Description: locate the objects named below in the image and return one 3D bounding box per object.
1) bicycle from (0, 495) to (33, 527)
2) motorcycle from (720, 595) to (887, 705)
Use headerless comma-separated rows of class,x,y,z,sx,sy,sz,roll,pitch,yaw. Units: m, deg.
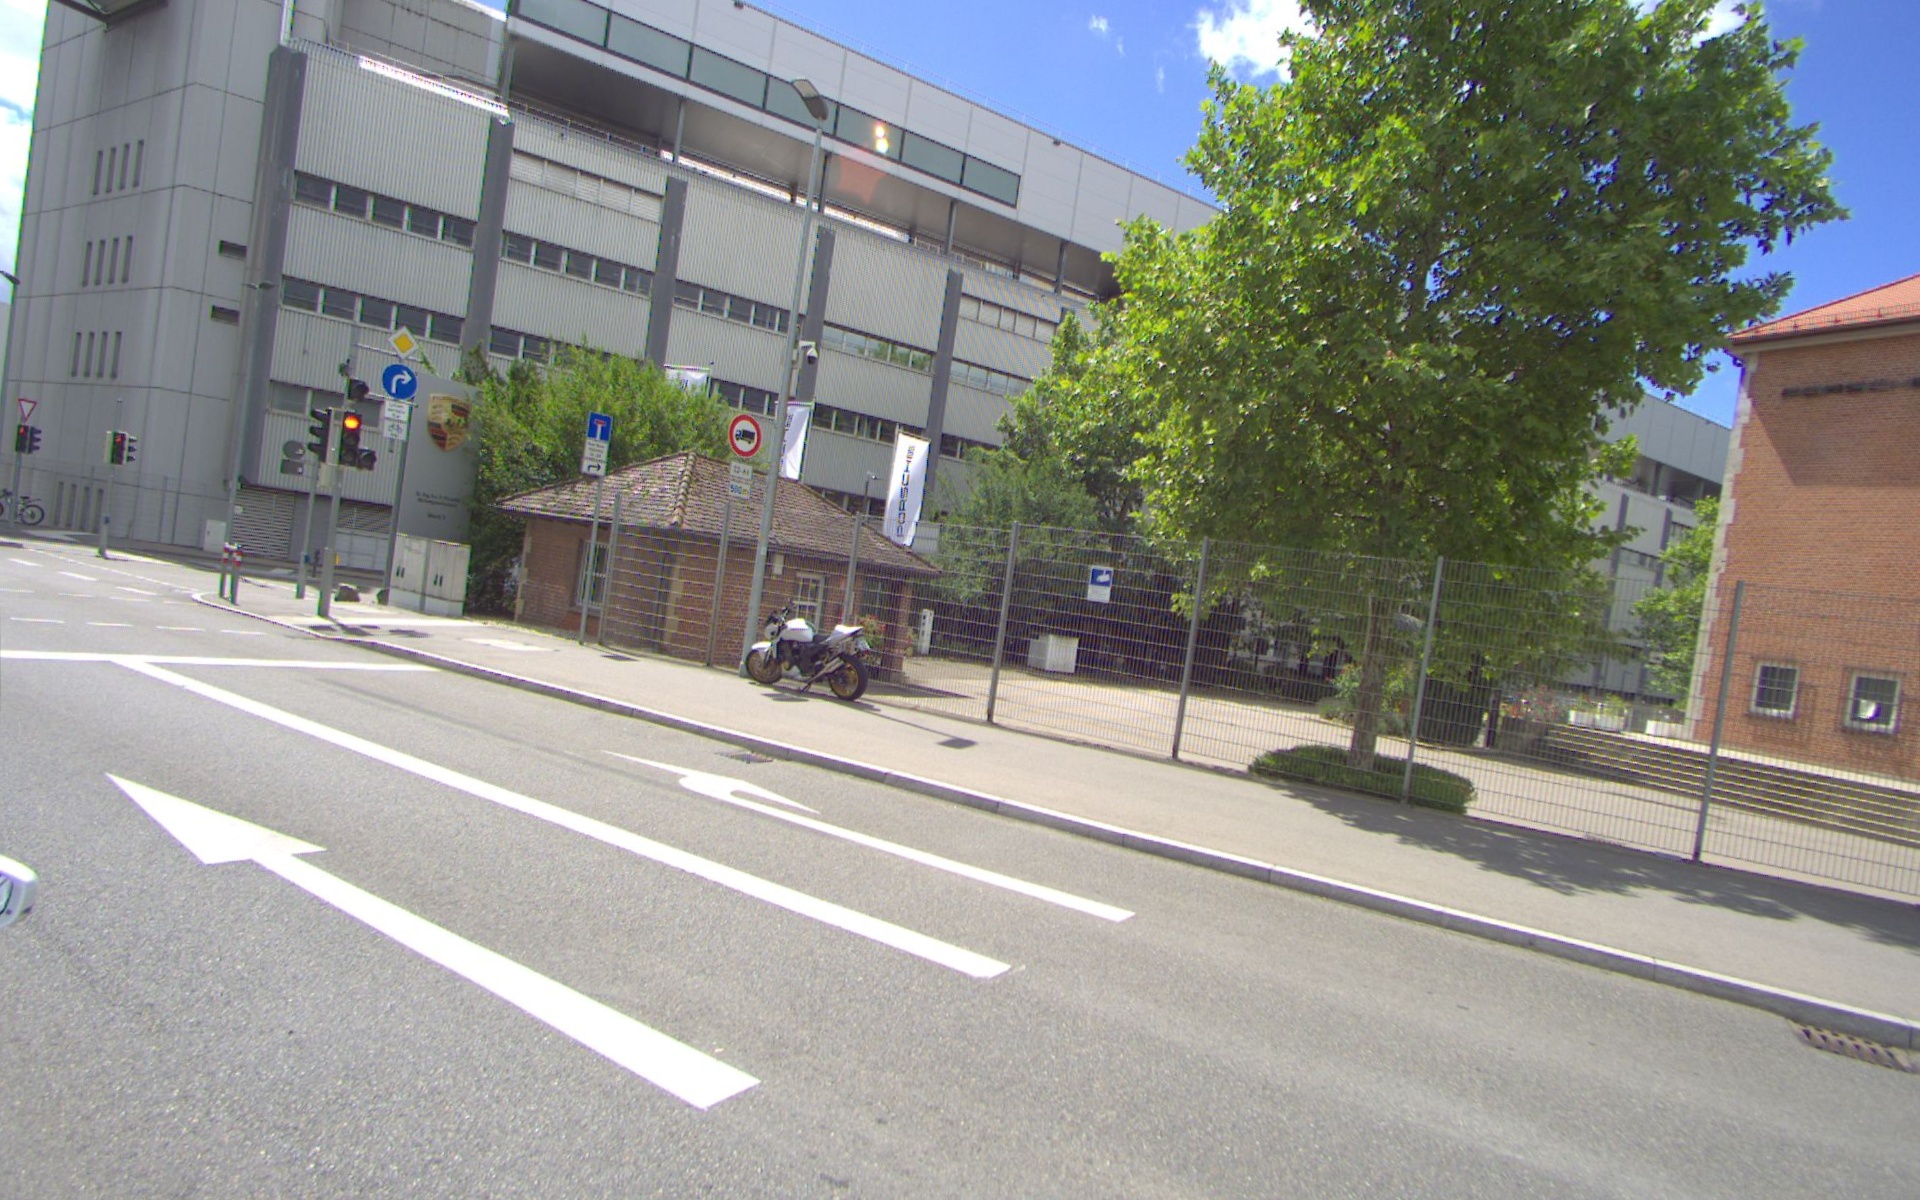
bicycle,-32.738,-3.109,34.331,1.892,0.948,0.399,8,0,6
motorcycle,-2.113,0.645,13.484,2.110,1.173,0.694,7,2,27
